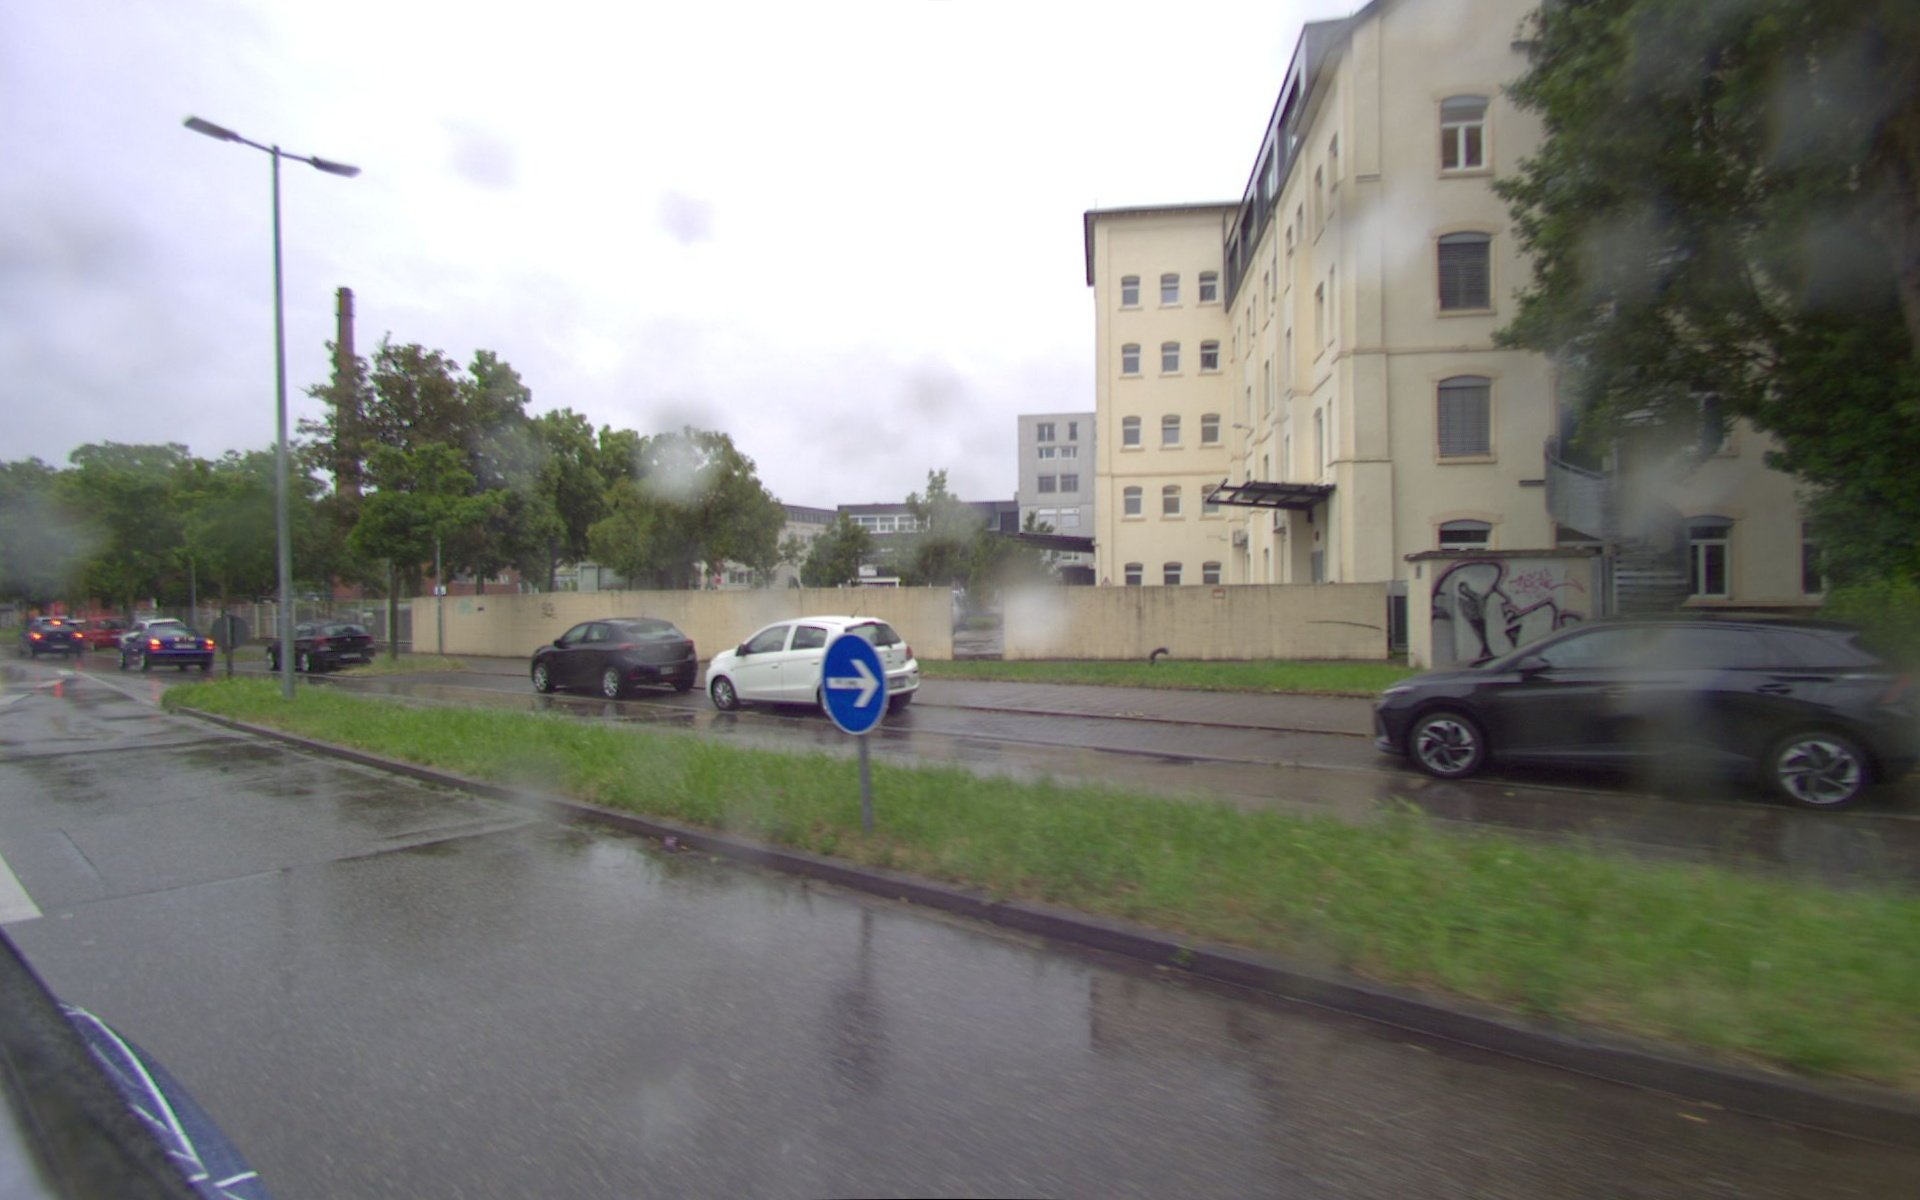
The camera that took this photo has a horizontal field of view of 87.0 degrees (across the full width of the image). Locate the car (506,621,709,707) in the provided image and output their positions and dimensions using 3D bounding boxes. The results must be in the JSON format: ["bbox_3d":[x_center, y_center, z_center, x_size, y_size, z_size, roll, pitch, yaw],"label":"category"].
[{"bbox_3d":[-6.879,1.152,19.563,4.175,1.393,1.710,-1,2,39],"label":"car"}]

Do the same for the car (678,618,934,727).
[{"bbox_3d":[-2.525,1.048,16.051,4.115,1.485,1.587,-1,0,37],"label":"car"}]

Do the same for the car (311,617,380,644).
[{"bbox_3d":[-45.217,2.222,74.497,3.953,1.896,1.995,-1,0,8],"label":"car"}]

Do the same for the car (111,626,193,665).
[{"bbox_3d":[-33.792,1.869,42.275,4.675,1.471,1.757,-1,0,39],"label":"car"}]

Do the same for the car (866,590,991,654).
[{"bbox_3d":[-1.010,0.715,34.063,3.951,2.029,1.997,-1,0,6],"label":"car"}]

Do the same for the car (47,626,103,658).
[{"bbox_3d":[-44.479,2.089,50.835,3.717,1.465,1.672,-1,0,42],"label":"car"}]

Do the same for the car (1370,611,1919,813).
[{"bbox_3d":[6.056,0.839,9.017,4.189,1.408,1.530,-1,1,38],"label":"car"}]

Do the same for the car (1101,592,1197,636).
[{"bbox_3d":[8.178,0.605,44.015,3.953,1.778,1.995,-1,-1,8],"label":"car"}]

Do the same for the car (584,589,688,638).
[{"bbox_3d":[-16.643,0.670,52.090,4.669,2.414,2.143,-1,0,11],"label":"car"}]

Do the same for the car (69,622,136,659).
[{"bbox_3d":[-40.086,1.861,47.290,3.792,1.610,1.609,-1,0,38],"label":"car"}]

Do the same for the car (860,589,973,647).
[{"bbox_3d":[-1.557,0.648,37.114,3.948,2.006,1.998,-1,0,4],"label":"car"}]

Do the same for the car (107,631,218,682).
[{"bbox_3d":[-23.784,1.649,30.148,3.945,1.404,1.710,-1,-3,39],"label":"car"}]

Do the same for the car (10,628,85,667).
[{"bbox_3d":[-37.358,1.915,41.422,3.942,1.512,1.689,-1,-3,40],"label":"car"}]

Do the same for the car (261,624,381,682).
[{"bbox_3d":[-18.224,1.461,28.814,4.093,1.456,1.679,-1,1,40],"label":"car"}]
